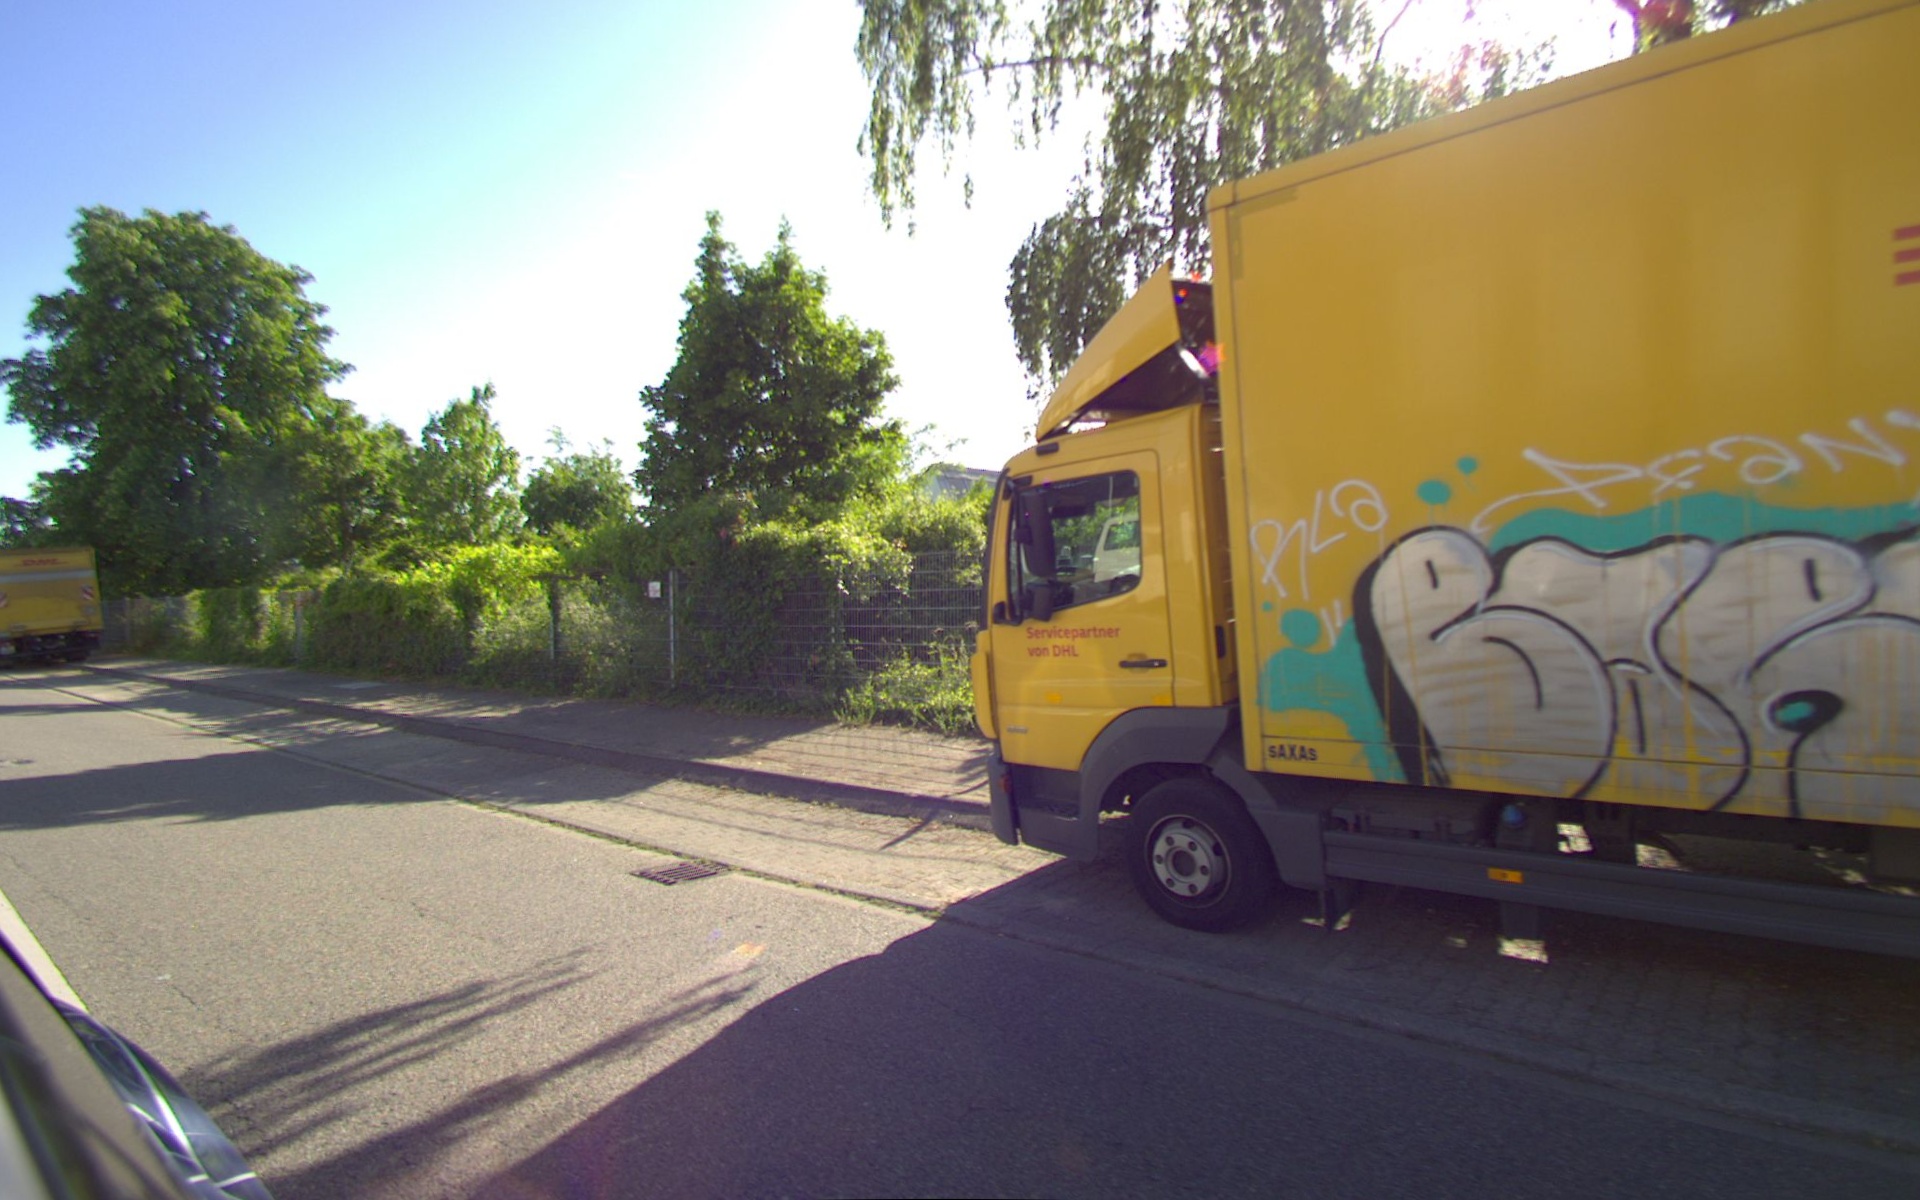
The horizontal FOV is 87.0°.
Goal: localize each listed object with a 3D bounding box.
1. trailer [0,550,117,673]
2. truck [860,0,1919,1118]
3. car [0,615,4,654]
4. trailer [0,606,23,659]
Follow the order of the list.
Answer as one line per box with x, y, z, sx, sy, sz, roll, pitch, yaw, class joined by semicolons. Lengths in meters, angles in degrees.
-29.396;0.359;31.838;8.153;3.469;2.961;-1;0;40;trailer
3.704;-0.364;3.764;8.651;3.530;2.606;-2;5;41;truck
-42.228;1.539;42.944;5.023;1.604;1.889;-1;4;41;car
-37.802;1.231;39.011;4.412;1.956;1.973;-1;-1;41;trailer
